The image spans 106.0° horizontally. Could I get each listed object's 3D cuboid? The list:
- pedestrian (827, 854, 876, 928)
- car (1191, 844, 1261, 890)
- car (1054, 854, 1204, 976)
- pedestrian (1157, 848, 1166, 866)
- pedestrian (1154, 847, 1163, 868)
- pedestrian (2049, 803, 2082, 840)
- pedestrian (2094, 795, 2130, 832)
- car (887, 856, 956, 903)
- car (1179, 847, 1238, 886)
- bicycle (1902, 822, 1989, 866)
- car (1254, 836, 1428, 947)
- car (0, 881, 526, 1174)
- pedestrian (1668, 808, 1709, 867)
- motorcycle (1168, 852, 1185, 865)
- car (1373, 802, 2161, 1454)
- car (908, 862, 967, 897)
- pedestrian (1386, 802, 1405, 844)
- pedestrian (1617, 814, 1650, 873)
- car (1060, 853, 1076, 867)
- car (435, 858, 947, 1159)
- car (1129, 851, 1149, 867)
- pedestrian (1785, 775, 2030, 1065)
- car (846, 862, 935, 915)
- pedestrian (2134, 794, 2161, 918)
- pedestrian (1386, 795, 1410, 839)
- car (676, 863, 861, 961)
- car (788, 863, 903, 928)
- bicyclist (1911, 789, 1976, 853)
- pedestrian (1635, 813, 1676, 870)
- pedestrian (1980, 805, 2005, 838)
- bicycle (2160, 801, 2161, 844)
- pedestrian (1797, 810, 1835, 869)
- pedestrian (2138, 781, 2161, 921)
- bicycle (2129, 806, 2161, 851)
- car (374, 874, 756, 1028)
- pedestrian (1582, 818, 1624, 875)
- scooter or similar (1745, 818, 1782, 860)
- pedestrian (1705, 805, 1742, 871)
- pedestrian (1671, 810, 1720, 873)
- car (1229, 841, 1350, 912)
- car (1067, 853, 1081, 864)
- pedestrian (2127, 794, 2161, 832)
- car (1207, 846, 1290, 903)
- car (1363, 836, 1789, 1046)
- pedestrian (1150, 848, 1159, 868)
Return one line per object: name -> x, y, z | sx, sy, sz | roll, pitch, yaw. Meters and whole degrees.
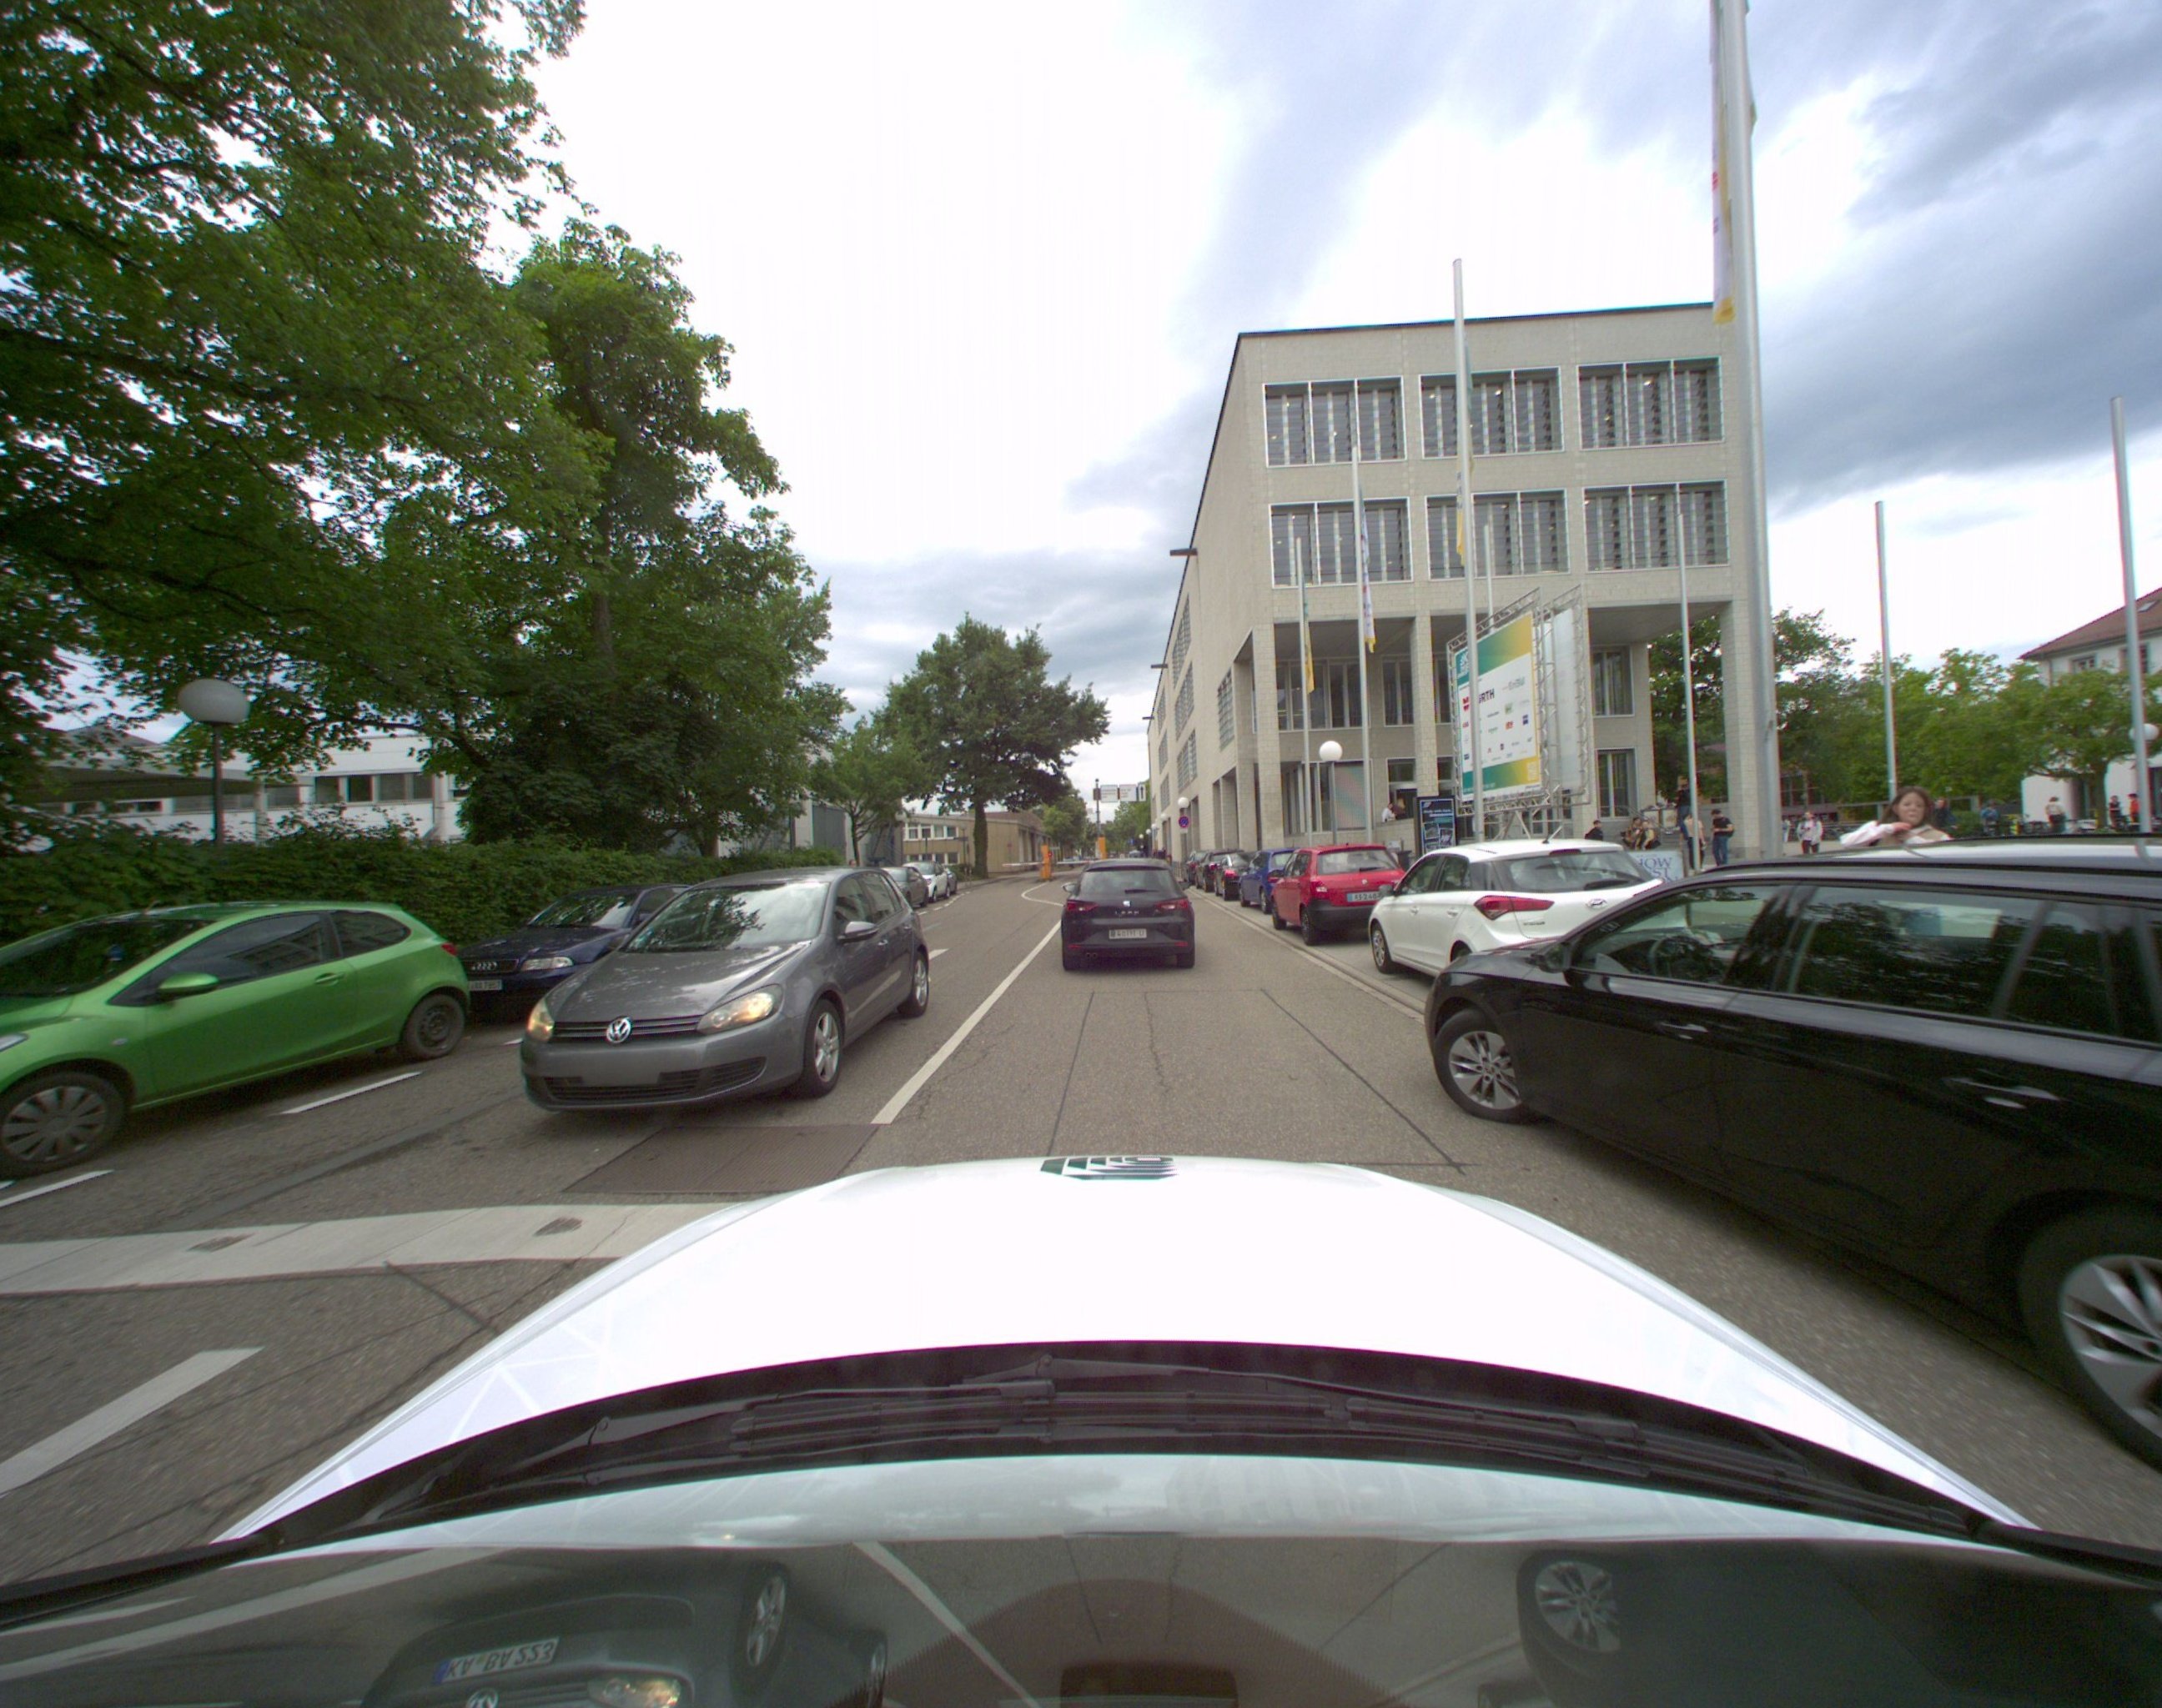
pedestrian -> -5.462, 0.865, 19.431 | 0.735, 1.661, 0.969 | -3, 1, 5
car -> 5.193, 0.441, 29.708 | 1.811, 1.443, 4.522 | -4, 0, 2
car -> 0.672, 0.742, 11.992 | 1.775, 1.419, 4.132 | -2, 0, 2
pedestrian -> 7.882, 0.297, 79.659 | 0.726, 1.698, 0.587 | -2, 2, -3
pedestrian -> 6.488, 0.323, 68.007 | 0.608, 1.714, 0.576 | -3, 0, 7
pedestrian -> 45.556, -1.486, 37.689 | 0.658, 1.641, 0.666 | -3, -1, 0
pedestrian -> 46.970, -1.844, 37.108 | 0.658, 1.641, 0.694 | -3, -1, 0
car -> -6.032, 0.923, 31.247 | 1.709, 1.586, 3.879 | -2, 1, 2
car -> 5.462, 0.524, 35.542 | 1.985, 1.452, 4.926 | -3, 0, 3
bicycle -> 23.199, -0.275, 21.903 | 0.866, 1.093, 1.810 | -2, 0, 21
car -> 4.238, 0.536, 13.988 | 1.705, 1.473, 4.277 | -5, 0, 3
car -> -6.613, 1.040, 6.031 | 1.789, 1.469, 4.253 | -3, 0, 4
pedestrian -> 18.598, -0.513, 24.940 | 0.719, 1.784, 0.734 | -2, 2, -11
motorcycle -> 9.528, 0.436, 81.147 | 0.752, 1.148, 2.679 | -1, 2, 27
car -> 3.146, 0.587, 3.139 | 1.860, 1.401, 4.466 | -5, 0, -8
car -> -6.416, 1.089, 36.833 | 1.812, 1.389, 4.194 | -2, 0, 0
pedestrian -> 12.517, -1.233, 32.429 | 0.624, 1.658, 0.811 | -1, 2, 19
pedestrian -> 17.755, -0.329, 26.187 | 0.588, 1.841, 0.621 | -2, -1, 4
car -> -1.582, 0.753, 102.451 | 1.763, 1.601, 4.001 | -2, 0, 2
car -> -2.402, 0.828, 6.366 | 1.776, 1.497, 4.170 | -3, 0, 3
car -> 6.414, 0.594, 90.141 | 1.986, 1.622, 4.430 | -3, -1, 2
pedestrian -> 5.520, 0.422, 5.517 | 0.785, 1.787, 0.824 | -3, -1, 14
car -> -6.026, 1.047, 26.219 | 1.757, 1.411, 4.009 | -2, 0, 1
pedestrian -> 15.468, 0.006, 11.280 | 0.695, 1.712, 0.902 | -5, 1, -25
pedestrian -> 12.268, -1.439, 31.523 | 0.797, 1.658, 0.635 | -1, 2, 27
car -> -6.165, 1.048, 16.712 | 1.790, 1.561, 4.533 | -3, 0, 3
car -> -6.227, 1.051, 21.976 | 1.755, 1.471, 3.827 | -3, 0, 2
bicyclist -> 23.165, -0.879, 21.899 | 0.866, 1.641, 0.872 | -2, 0, 20
pedestrian -> 17.746, -0.379, 25.181 | 0.773, 1.715, 0.604 | -2, -1, 3
pedestrian -> 47.000, -1.666, 41.998 | 0.654, 1.641, 0.670 | -3, 0, 37
bicycle -> 29.373, -0.803, 20.399 | 0.742, 1.170, 3.112 | -1, 2, 5
pedestrian -> 21.041, -0.426, 23.341 | 0.727, 1.640, 0.938 | 0, 2, 37
pedestrian -> 14.350, -0.049, 10.533 | 0.635, 1.807, 0.652 | 0, 2, 33
bicycle -> 28.595, -0.638, 20.455 | 0.742, 1.170, 3.112 | -1, 2, 5
car -> -6.208, 1.065, 10.568 | 1.788, 1.408, 4.344 | -3, 0, 6
pedestrian -> 15.635, -0.222, 24.418 | 0.752, 1.669, 0.706 | -3, -1, 3
scooter or similar -> 23.146, -0.530, 27.613 | 1.494, 1.369, 0.402 | -3, 2, -25
pedestrian -> 18.776, -0.464, 23.784 | 0.783, 1.865, 0.596 | -2, -1, -39
pedestrian -> 17.788, -0.349, 23.580 | 0.762, 1.785, 0.734 | -2, -1, -11
car -> 4.863, 0.498, 19.637 | 1.690, 1.411, 4.375 | -3, -1, -1
car -> -1.059, 0.674, 125.252 | 1.763, 1.601, 4.002 | -2, 0, 2
pedestrian -> 47.012, -1.801, 35.964 | 0.658, 1.641, 0.666 | -3, -1, 0
car -> 4.979, 0.546, 24.819 | 1.840, 1.442, 4.424 | -2, 1, 4
car -> 4.261, 0.636, 7.851 | 1.853, 1.453, 3.861 | -3, 0, 3
pedestrian -> 6.481, 0.374, 71.382 | 0.692, 1.714, 0.490 | -2, 0, 8
